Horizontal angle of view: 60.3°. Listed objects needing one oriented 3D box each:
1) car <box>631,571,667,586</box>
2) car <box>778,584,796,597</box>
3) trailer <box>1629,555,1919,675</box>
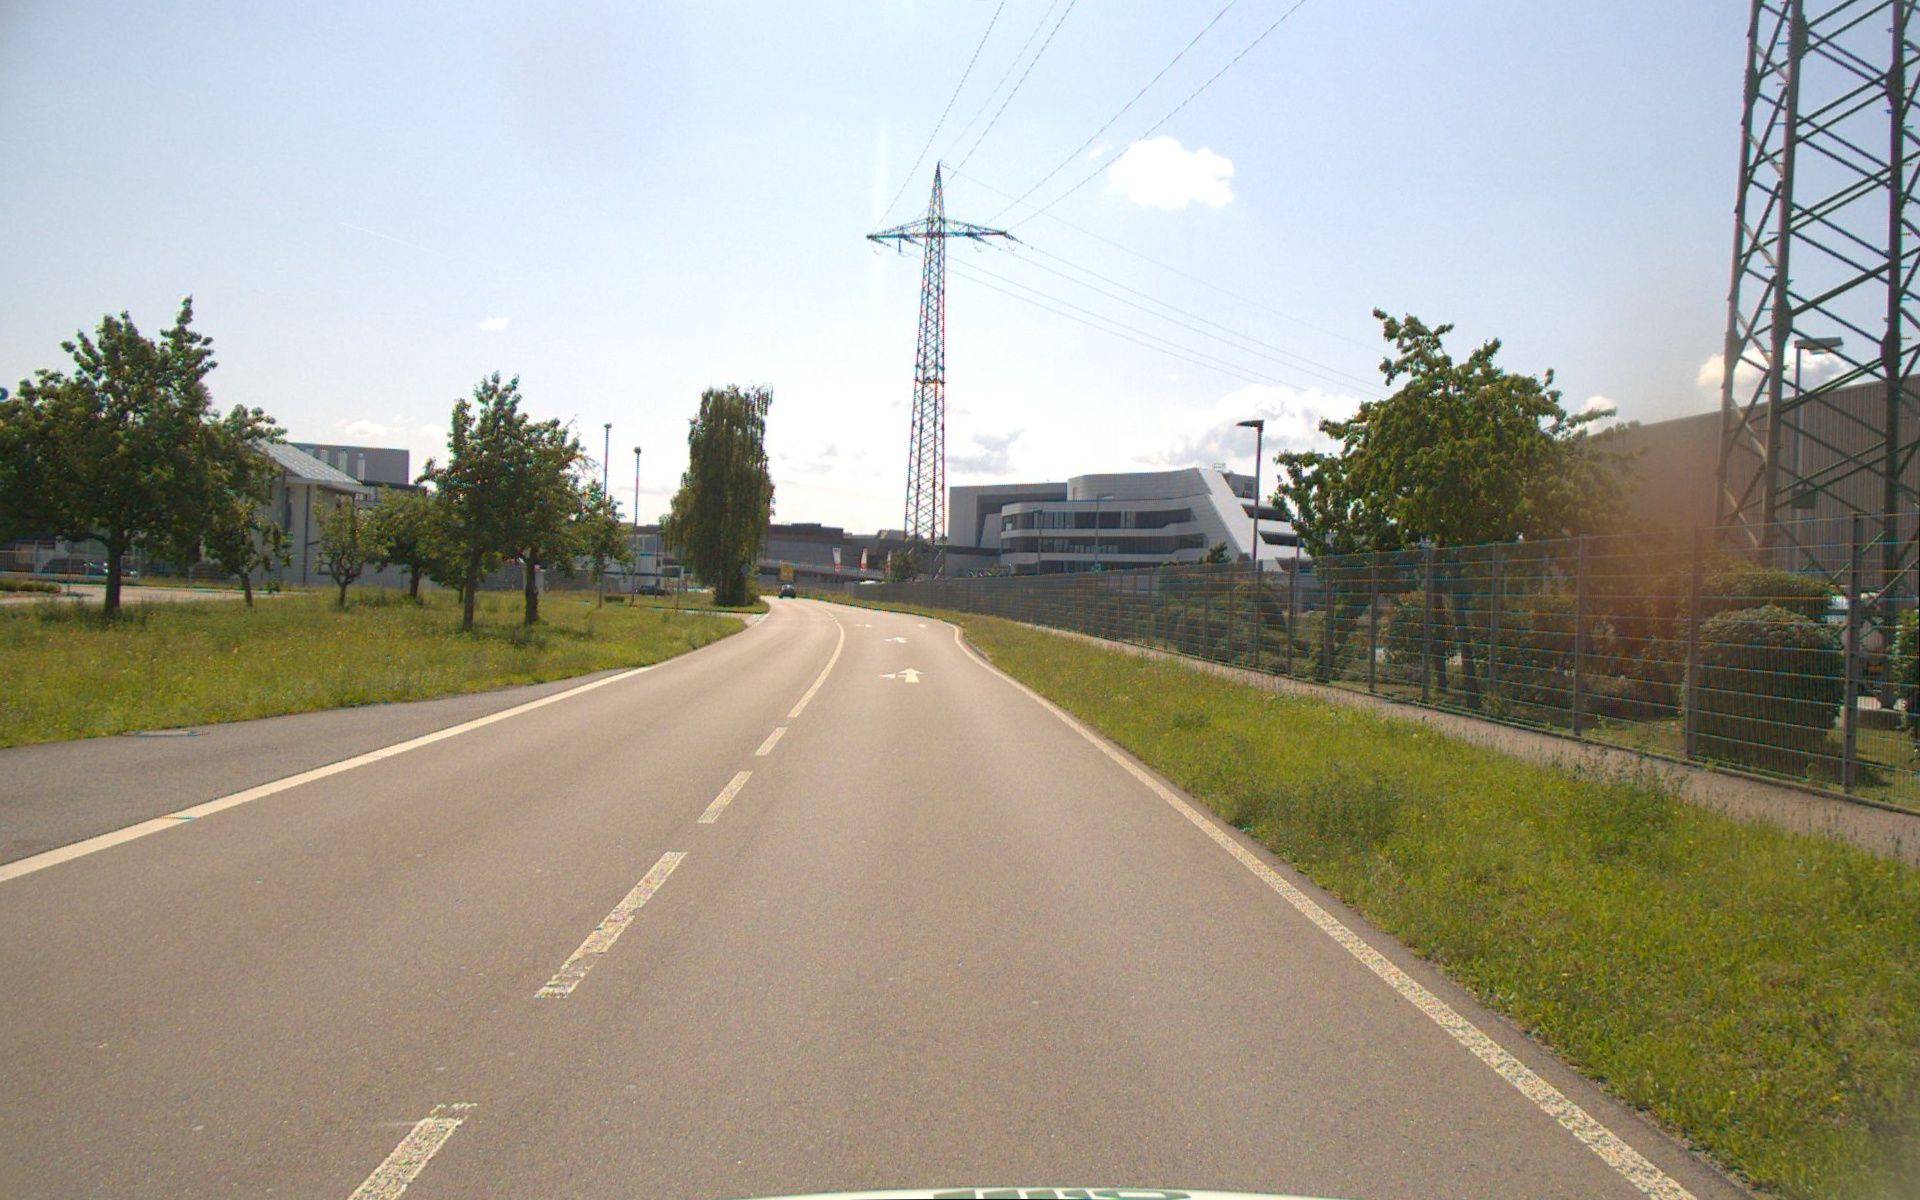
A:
[{"bbox_3d":[-36.079,-2.475,191.881,3.913,1.601,1.996,1,1,-9],"label":"car"},{"bbox_3d":[-20.872,-1.158,200.053,1.973,1.534,3.996,2,0,-5],"label":"car"},{"bbox_3d":[28.875,0.409,59.077,3.523,3.800,12.216,1,1,-8],"label":"trailer"}]
